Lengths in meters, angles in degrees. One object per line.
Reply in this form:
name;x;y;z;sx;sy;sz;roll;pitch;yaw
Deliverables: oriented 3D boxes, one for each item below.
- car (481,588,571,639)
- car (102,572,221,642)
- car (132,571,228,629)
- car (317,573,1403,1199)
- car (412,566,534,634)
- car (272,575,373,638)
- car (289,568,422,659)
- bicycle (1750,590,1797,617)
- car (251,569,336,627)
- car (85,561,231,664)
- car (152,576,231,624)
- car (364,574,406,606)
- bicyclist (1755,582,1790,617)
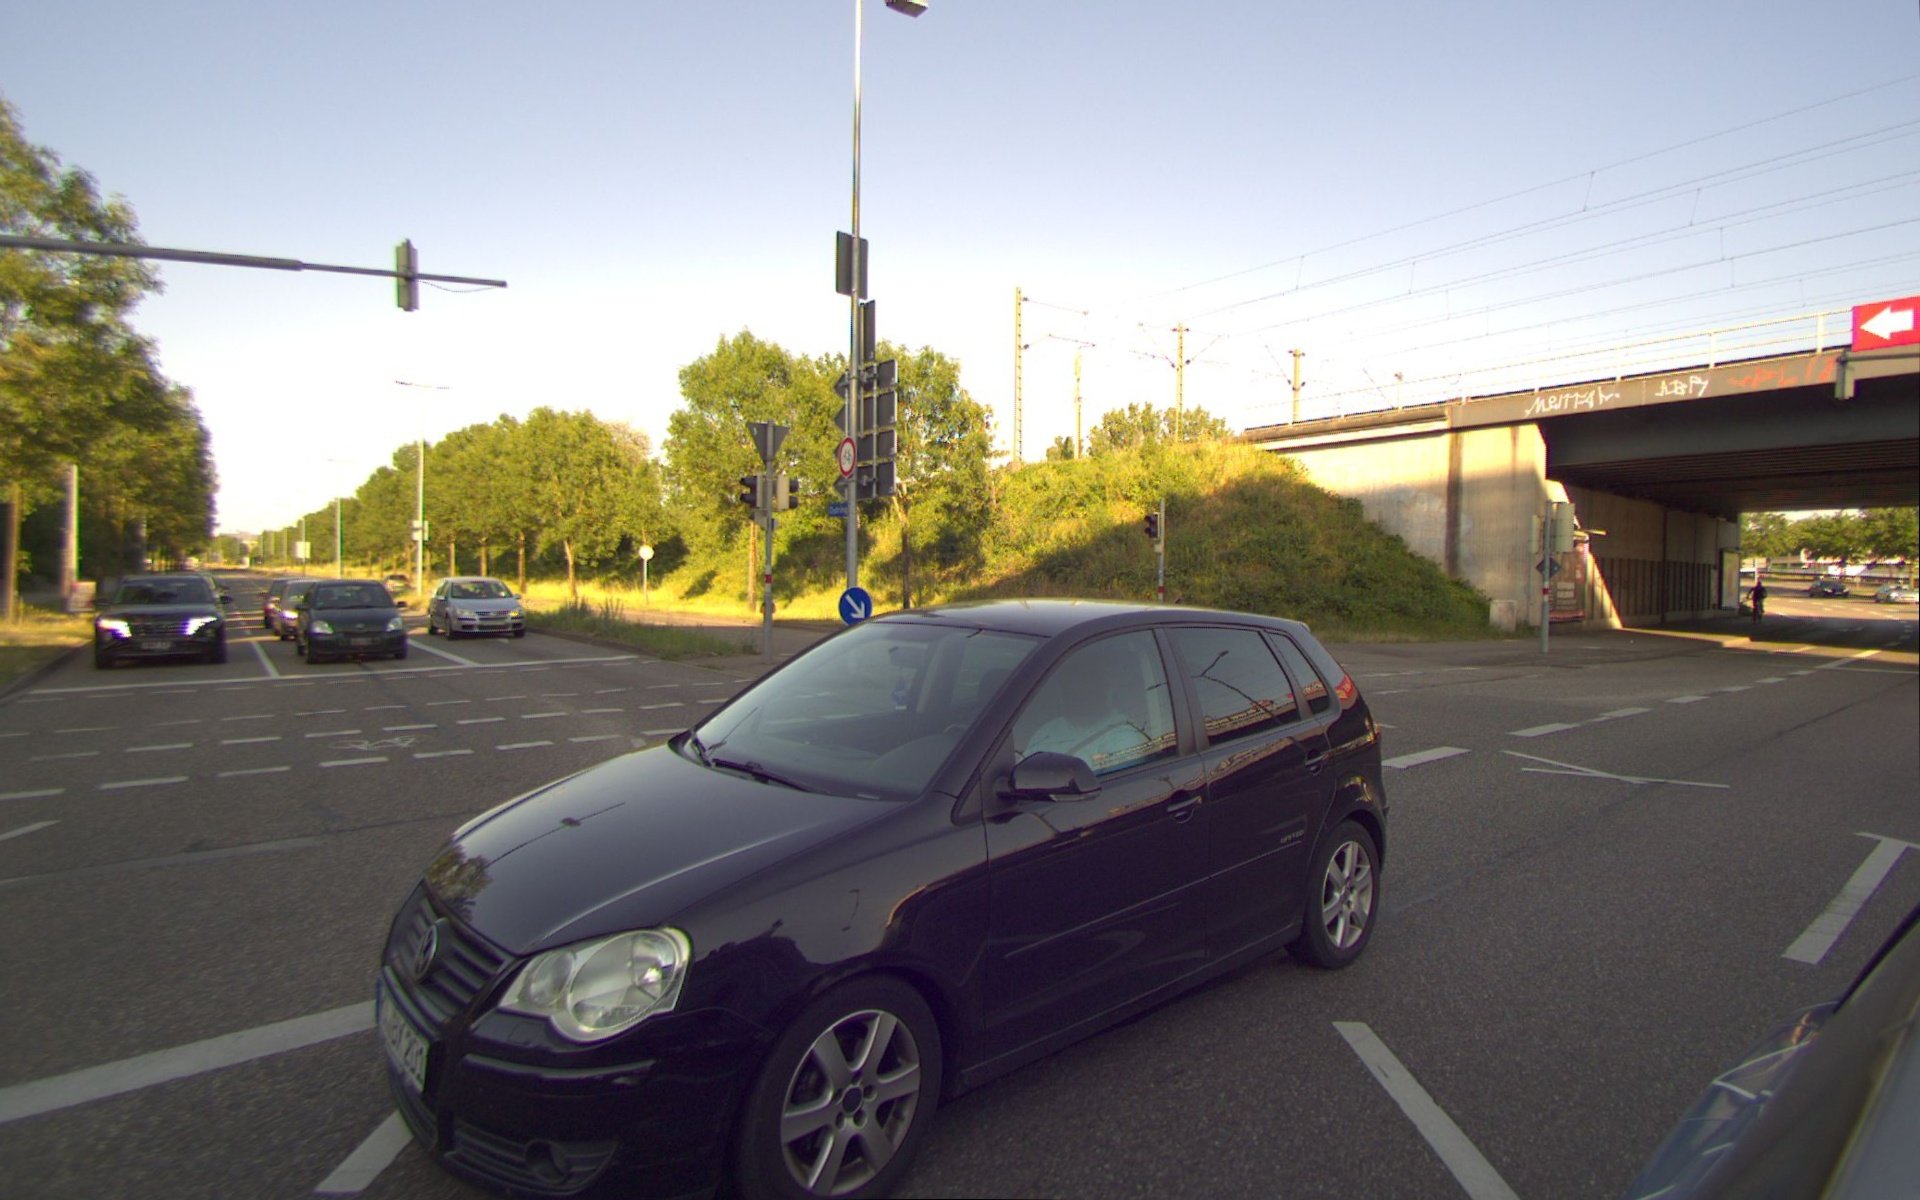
car;-14.788;0.422;34.346;2.002;1.587;4.342;-1;1;-34
car;-19.894;0.139;25.390;2.002;1.587;4.342;-1;1;-34
car;-23.345;-0.015;30.423;2.002;1.587;4.342;-1;1;-34
car;-0.019;0.646;3.618;3.621;1.427;1.618;-2;1;-43
car;-12.185;-0.019;25.207;1.857;1.549;3.995;-2;1;-39
car;-16.276;0.128;25.742;2.002;1.425;4.342;-2;1;-34
car;-11.811;0.206;19.659;1.962;1.549;4.000;-1;1;-34
bicycle;34.265;0.122;42.663;0.773;1.070;2.480;-1;1;20
car;-20.153;-0.082;30.575;2.002;1.587;4.342;-1;1;-34
car;-14.915;0.181;19.016;1.827;1.715;4.000;-1;1;-34
car;-27.501;-0.030;36.321;2.002;1.587;4.342;-1;1;-34
car;-40.905;-0.690;71.946;1.964;2.206;3.996;-1;1;-39
bicyclist;34.215;-0.039;42.620;0.833;1.439;1.106;-1;0;21
